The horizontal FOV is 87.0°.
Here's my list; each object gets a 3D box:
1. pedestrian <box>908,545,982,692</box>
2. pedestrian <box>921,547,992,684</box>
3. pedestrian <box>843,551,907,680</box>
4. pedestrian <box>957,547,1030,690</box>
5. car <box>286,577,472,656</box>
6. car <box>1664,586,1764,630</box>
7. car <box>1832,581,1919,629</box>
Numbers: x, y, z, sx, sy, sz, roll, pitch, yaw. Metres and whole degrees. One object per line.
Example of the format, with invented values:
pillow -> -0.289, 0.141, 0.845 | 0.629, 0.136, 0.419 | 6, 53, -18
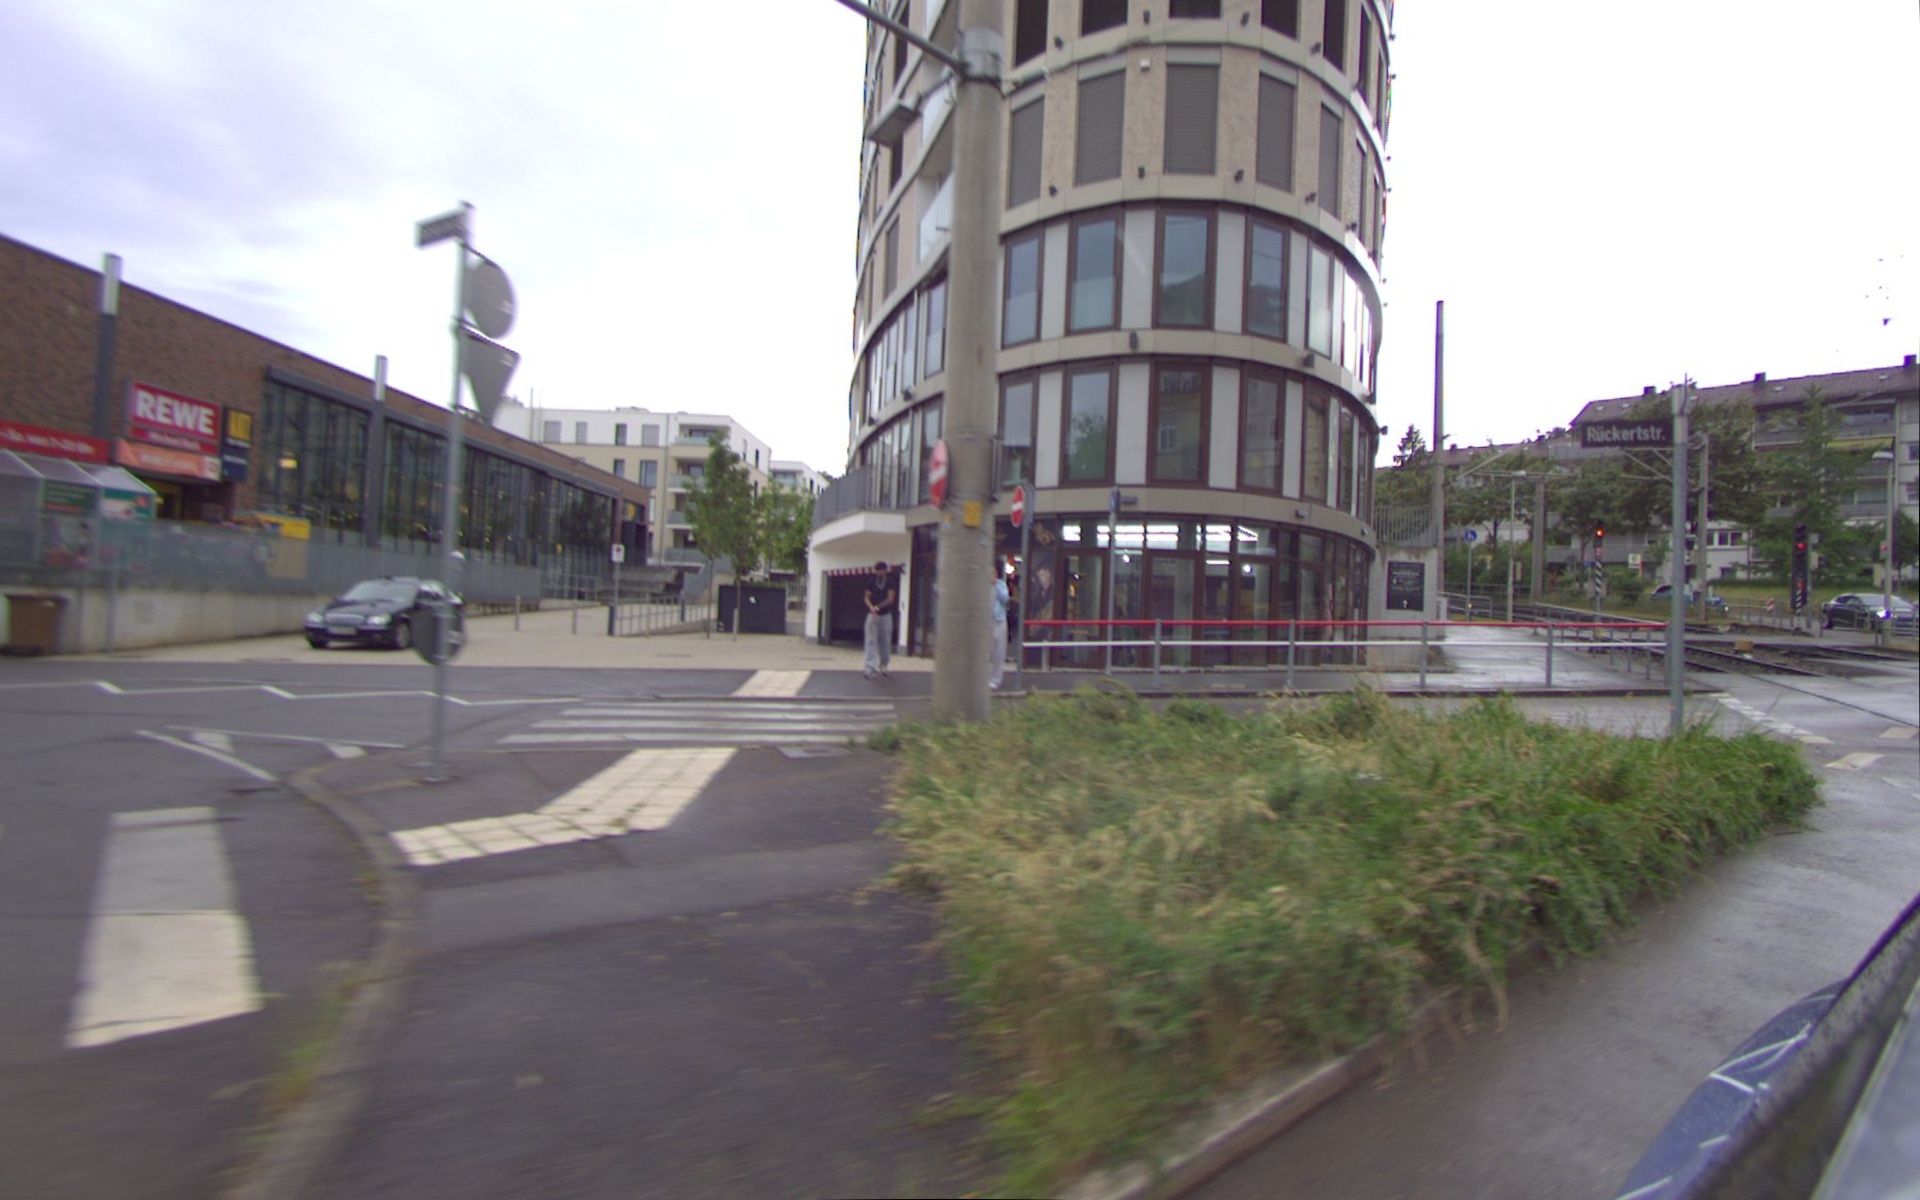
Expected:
pedestrian -> -0.212, 0.249, 14.611 | 0.680, 2.038, 0.777 | 3, 2, 34
pedestrian -> -0.050, 0.218, 15.602 | 0.591, 2.038, 0.878 | 3, 2, 42
pedestrian -> -1.389, 0.231, 16.547 | 0.591, 2.039, 0.878 | 1, 1, 42
pedestrian -> 0.506, 0.252, 15.087 | 0.653, 2.038, 0.881 | 3, 2, 34
car -> -12.156, 0.273, 21.505 | 1.960, 1.375, 4.006 | 2, 2, -6
car -> 25.786, 0.223, 34.588 | 3.932, 1.380, 1.997 | -1, 2, -42
car -> 33.916, 0.141, 36.479 | 1.784, 1.636, 4.293 | 1, 1, 10
